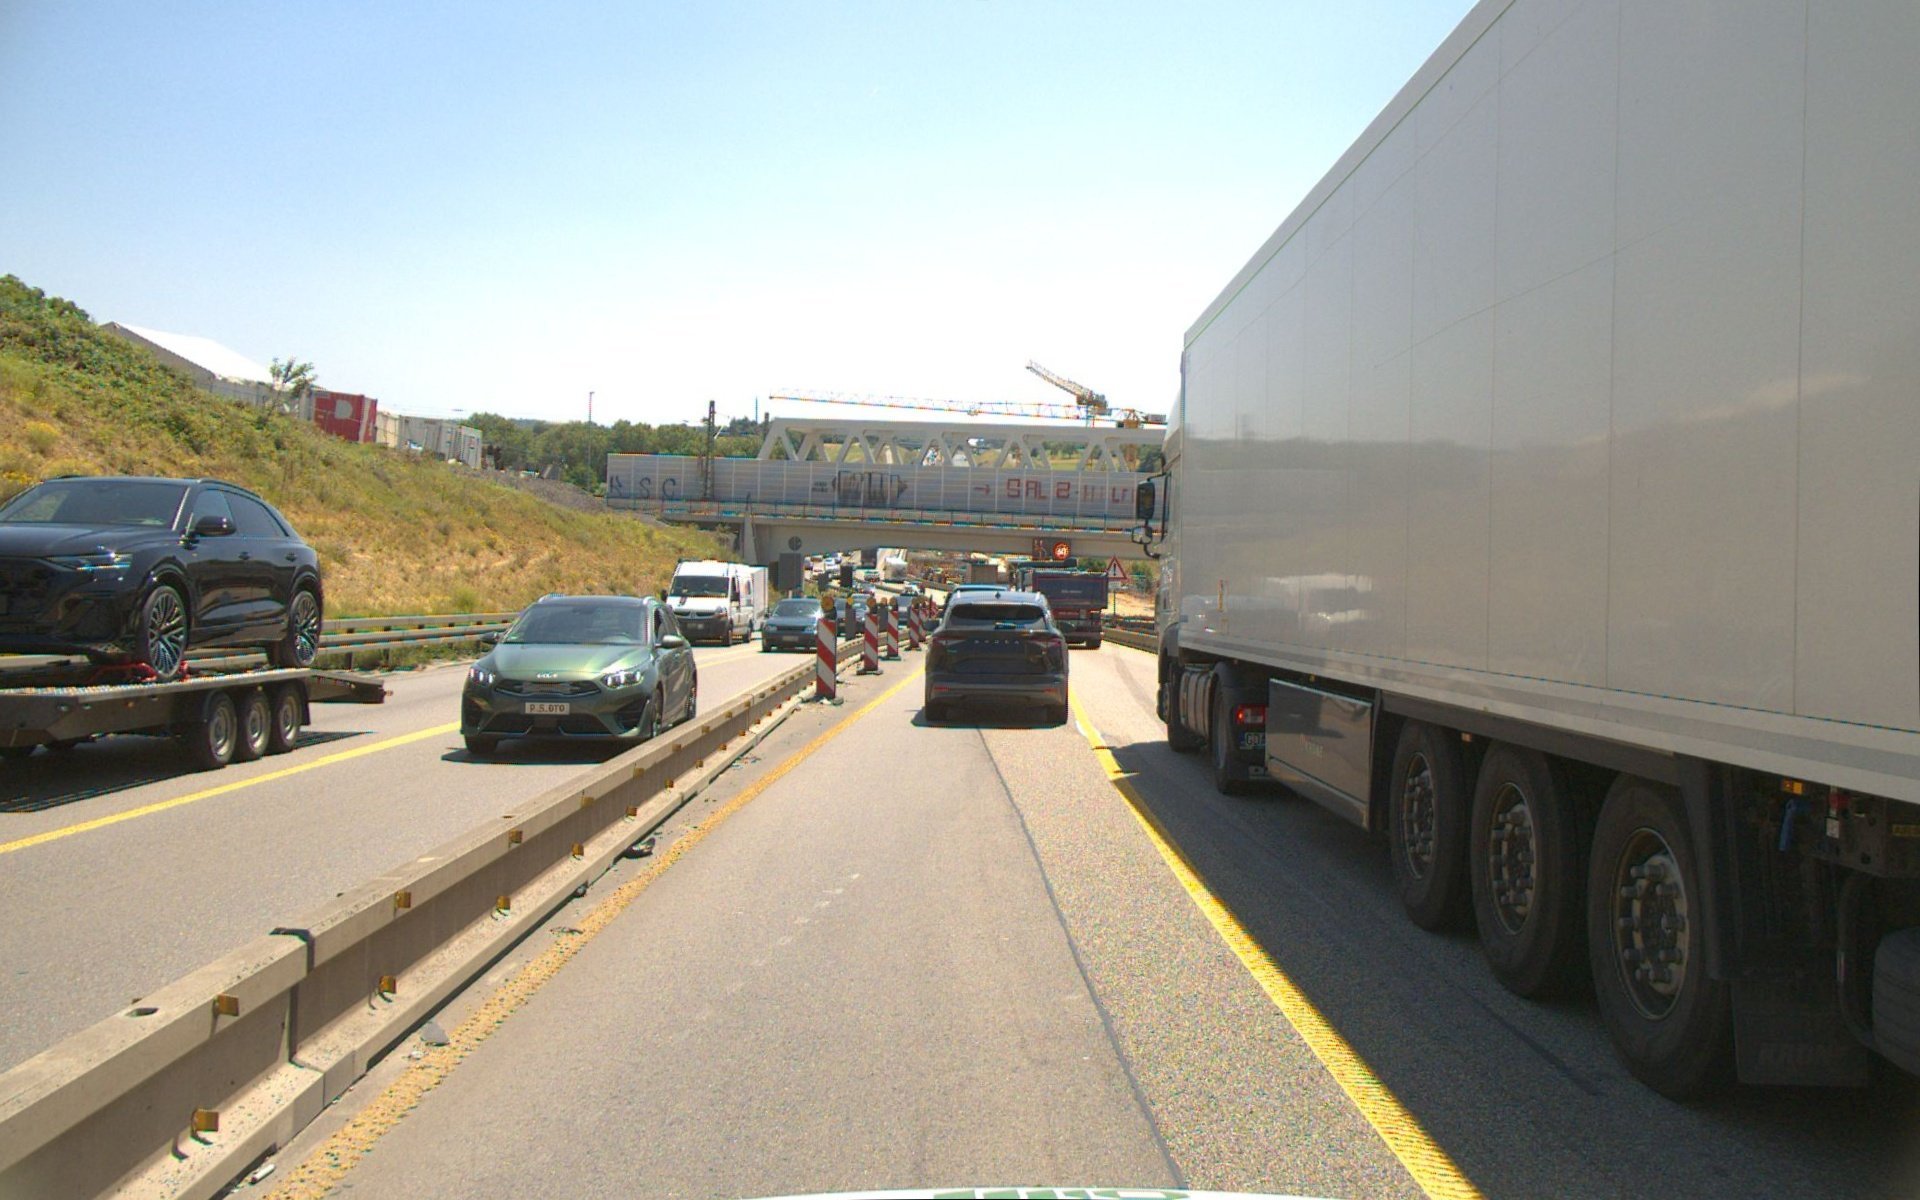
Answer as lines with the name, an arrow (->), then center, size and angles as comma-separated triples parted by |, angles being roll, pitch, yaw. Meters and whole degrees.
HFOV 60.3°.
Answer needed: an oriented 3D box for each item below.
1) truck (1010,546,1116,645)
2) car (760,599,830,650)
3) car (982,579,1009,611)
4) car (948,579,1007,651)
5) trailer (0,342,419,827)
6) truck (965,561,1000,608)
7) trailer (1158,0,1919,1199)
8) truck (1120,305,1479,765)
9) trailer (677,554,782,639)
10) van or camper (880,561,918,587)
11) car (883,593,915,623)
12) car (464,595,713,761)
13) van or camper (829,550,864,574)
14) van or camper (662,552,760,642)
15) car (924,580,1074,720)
truck -> 3.534, -0.199, 60.092 | 2.757, 3.189, 12.835 | 1, 0, -1
car -> -4.465, 0.642, 45.203 | 1.577, 1.298, 3.166 | 1, 0, 0
car -> 2.587, -0.364, 121.622 | 1.628, 2.309, 3.794 | 2, 0, -3
car -> 0.485, 0.373, 45.085 | 1.444, 1.826, 3.298 | 3, 0, 1
trailer -> -6.962, -0.115, 11.808 | 2.222, 2.932, 13.038 | 1, 0, -2
truck -> 2.101, -1.520, 161.226 | 3.111, 4.393, 9.256 | 1, 0, -1
trailer -> 3.340, -0.567, 8.995 | 2.744, 4.129, 14.116 | 1, 0, 0
truck -> 3.317, -0.596, 17.436 | 2.720, 4.129, 4.904 | 1, 0, 0
trailer -> -7.391, -0.107, 53.938 | 2.170, 2.524, 8.526 | 1, 0, 0
van or camper -> -8.508, -3.578, 230.641 | 3.874, 3.479, 8.381 | 1, 1, -12
car -> -3.069, 0.396, 83.002 | 1.470, 1.445, 3.176 | 1, 0, 0
car -> -3.585, 0.686, 16.634 | 1.632, 1.453, 3.999 | 0, 0, -1
van or camper -> -17.566, -5.882, 255.672 | 3.877, 3.479, 8.374 | 1, 1, -15
van or camper -> -7.398, -0.091, 49.538 | 2.170, 2.524, 4.750 | 1, 0, 0
car -> 0.436, 0.591, 21.281 | 1.764, 1.649, 3.297 | 1, 0, -1
